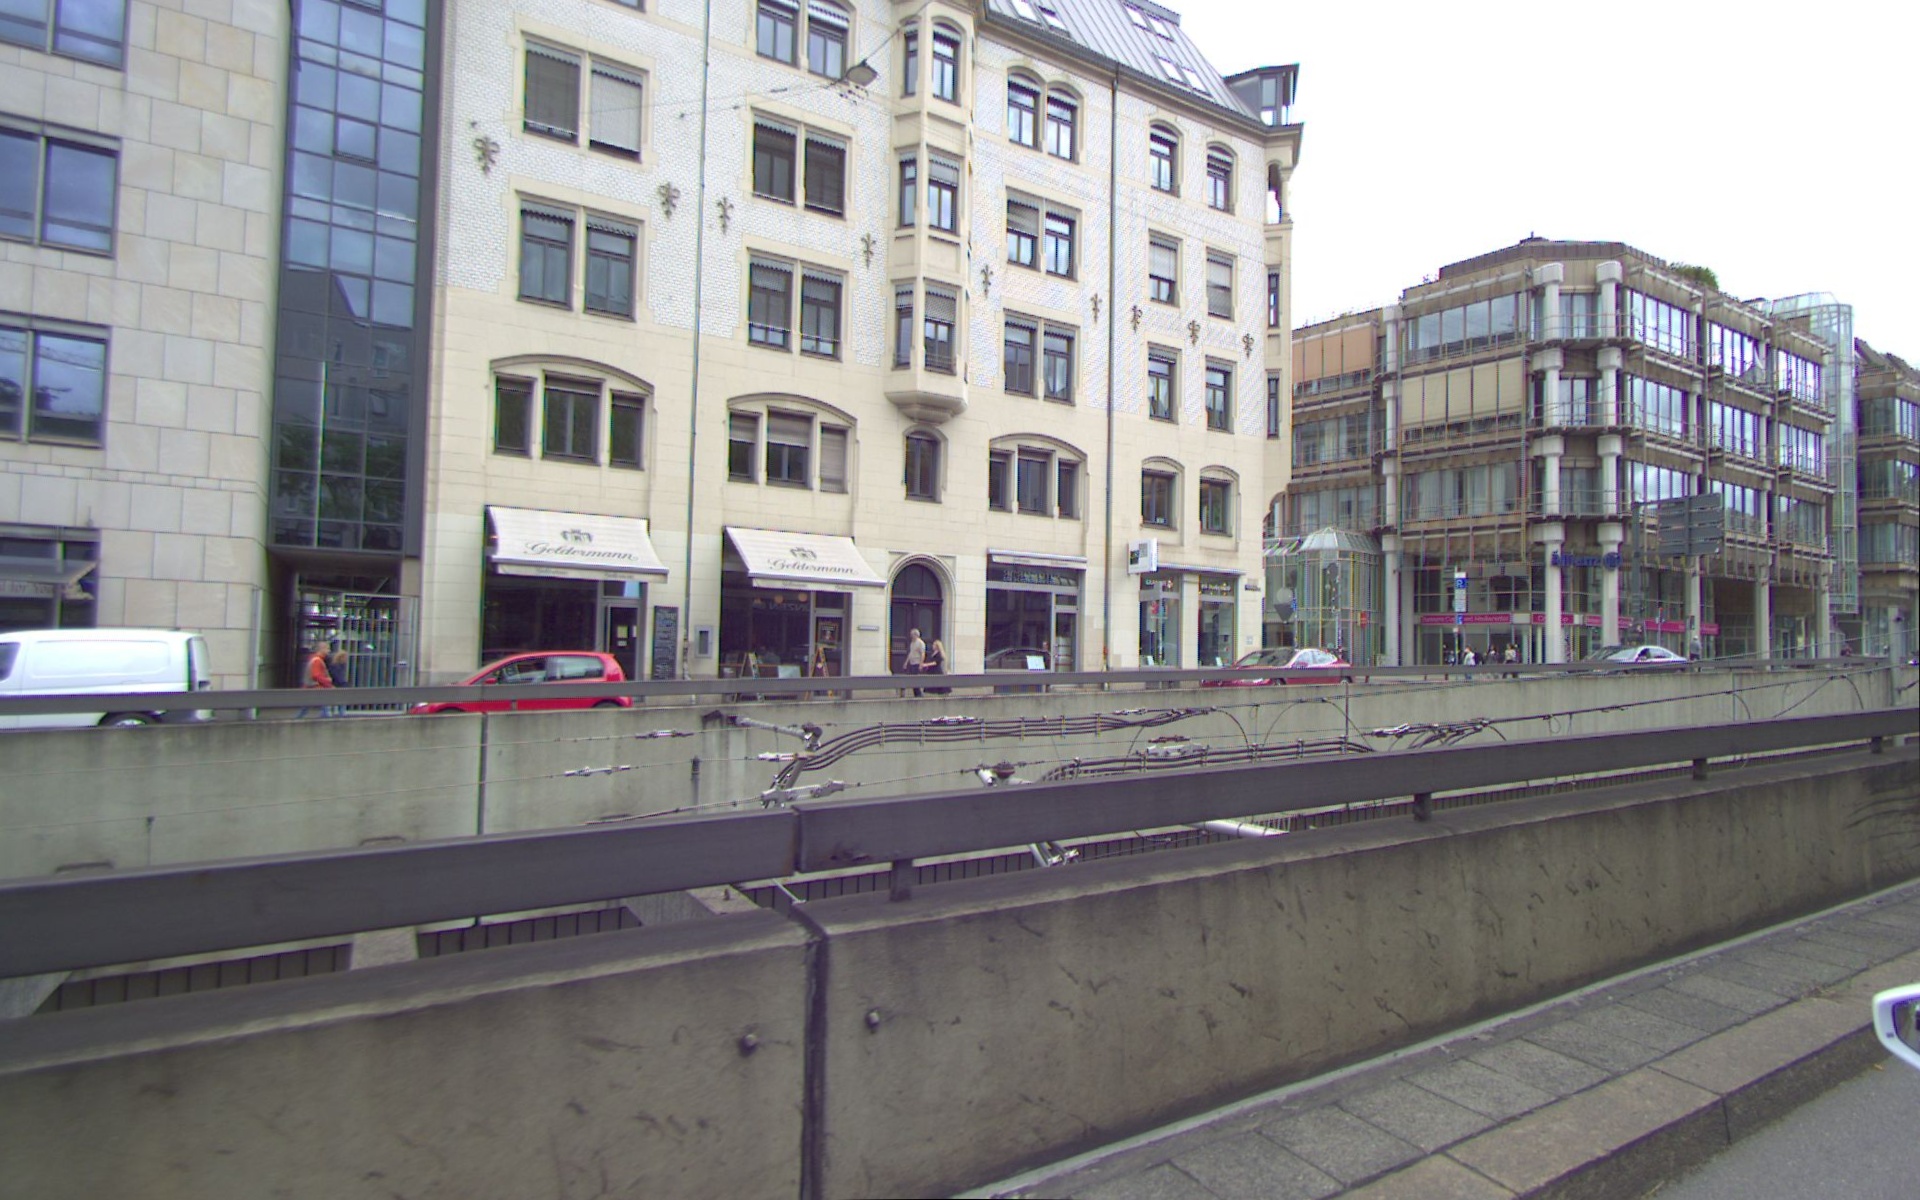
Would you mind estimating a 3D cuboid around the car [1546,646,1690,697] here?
[{"bbox_3d":[22.130,2.349,33.760,4.827,1.606,1.986,1,-2,-29],"label":"car"}]

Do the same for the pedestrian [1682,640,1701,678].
[{"bbox_3d":[35.517,2.846,48.774,0.686,1.816,0.530,1,-2,-30],"label":"pedestrian"}]

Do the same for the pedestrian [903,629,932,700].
[{"bbox_3d":[-1.083,1.642,25.601,0.576,1.780,0.477,1,-3,-29],"label":"pedestrian"}]

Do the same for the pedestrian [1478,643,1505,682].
[{"bbox_3d":[21.697,2.525,41.020,0.839,1.564,0.695,2,-3,-38],"label":"pedestrian"}]

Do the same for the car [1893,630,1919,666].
[{"bbox_3d":[50.581,2.487,52.174,4.231,1.791,1.984,1,-3,-31],"label":"car"}]

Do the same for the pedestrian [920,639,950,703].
[{"bbox_3d":[-0.624,1.755,25.033,0.576,1.558,0.477,1,-3,-30],"label":"pedestrian"}]

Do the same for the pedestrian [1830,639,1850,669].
[{"bbox_3d":[54.866,3.357,62.624,0.708,1.848,0.767,1,-2,-40],"label":"pedestrian"}]

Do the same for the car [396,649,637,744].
[{"bbox_3d":[-7.520,1.559,17.104,3.543,1.424,1.778,1,-3,-32],"label":"car"}]

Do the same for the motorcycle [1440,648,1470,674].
[{"bbox_3d":[25.460,3.133,51.663,1.925,1.273,0.784,2,-2,-43],"label":"motorcycle"}]

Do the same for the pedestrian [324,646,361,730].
[{"bbox_3d":[-11.407,1.610,18.573,0.535,1.494,0.546,1,-2,-30],"label":"pedestrian"}]

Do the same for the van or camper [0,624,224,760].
[{"bbox_3d":[-13.073,1.231,13.918,4.437,1.774,1.858,1,-2,-32],"label":"van or camper"}]

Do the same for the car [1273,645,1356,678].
[{"bbox_3d":[16.454,2.824,46.768,1.631,1.455,3.429,1,-3,-31],"label":"car"}]

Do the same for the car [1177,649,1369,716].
[{"bbox_3d":[7.778,1.962,24.800,4.836,1.483,1.981,2,-3,-35],"label":"car"}]

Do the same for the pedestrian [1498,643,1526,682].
[{"bbox_3d":[22.222,2.496,40.414,0.839,1.564,0.695,2,-3,-38],"label":"pedestrian"}]

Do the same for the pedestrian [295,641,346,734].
[{"bbox_3d":[-11.285,1.520,17.731,0.704,1.602,0.580,1,-2,-30],"label":"pedestrian"}]

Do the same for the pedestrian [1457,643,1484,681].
[{"bbox_3d":[21.168,2.559,41.669,0.839,1.564,0.695,2,-3,-38],"label":"pedestrian"}]
